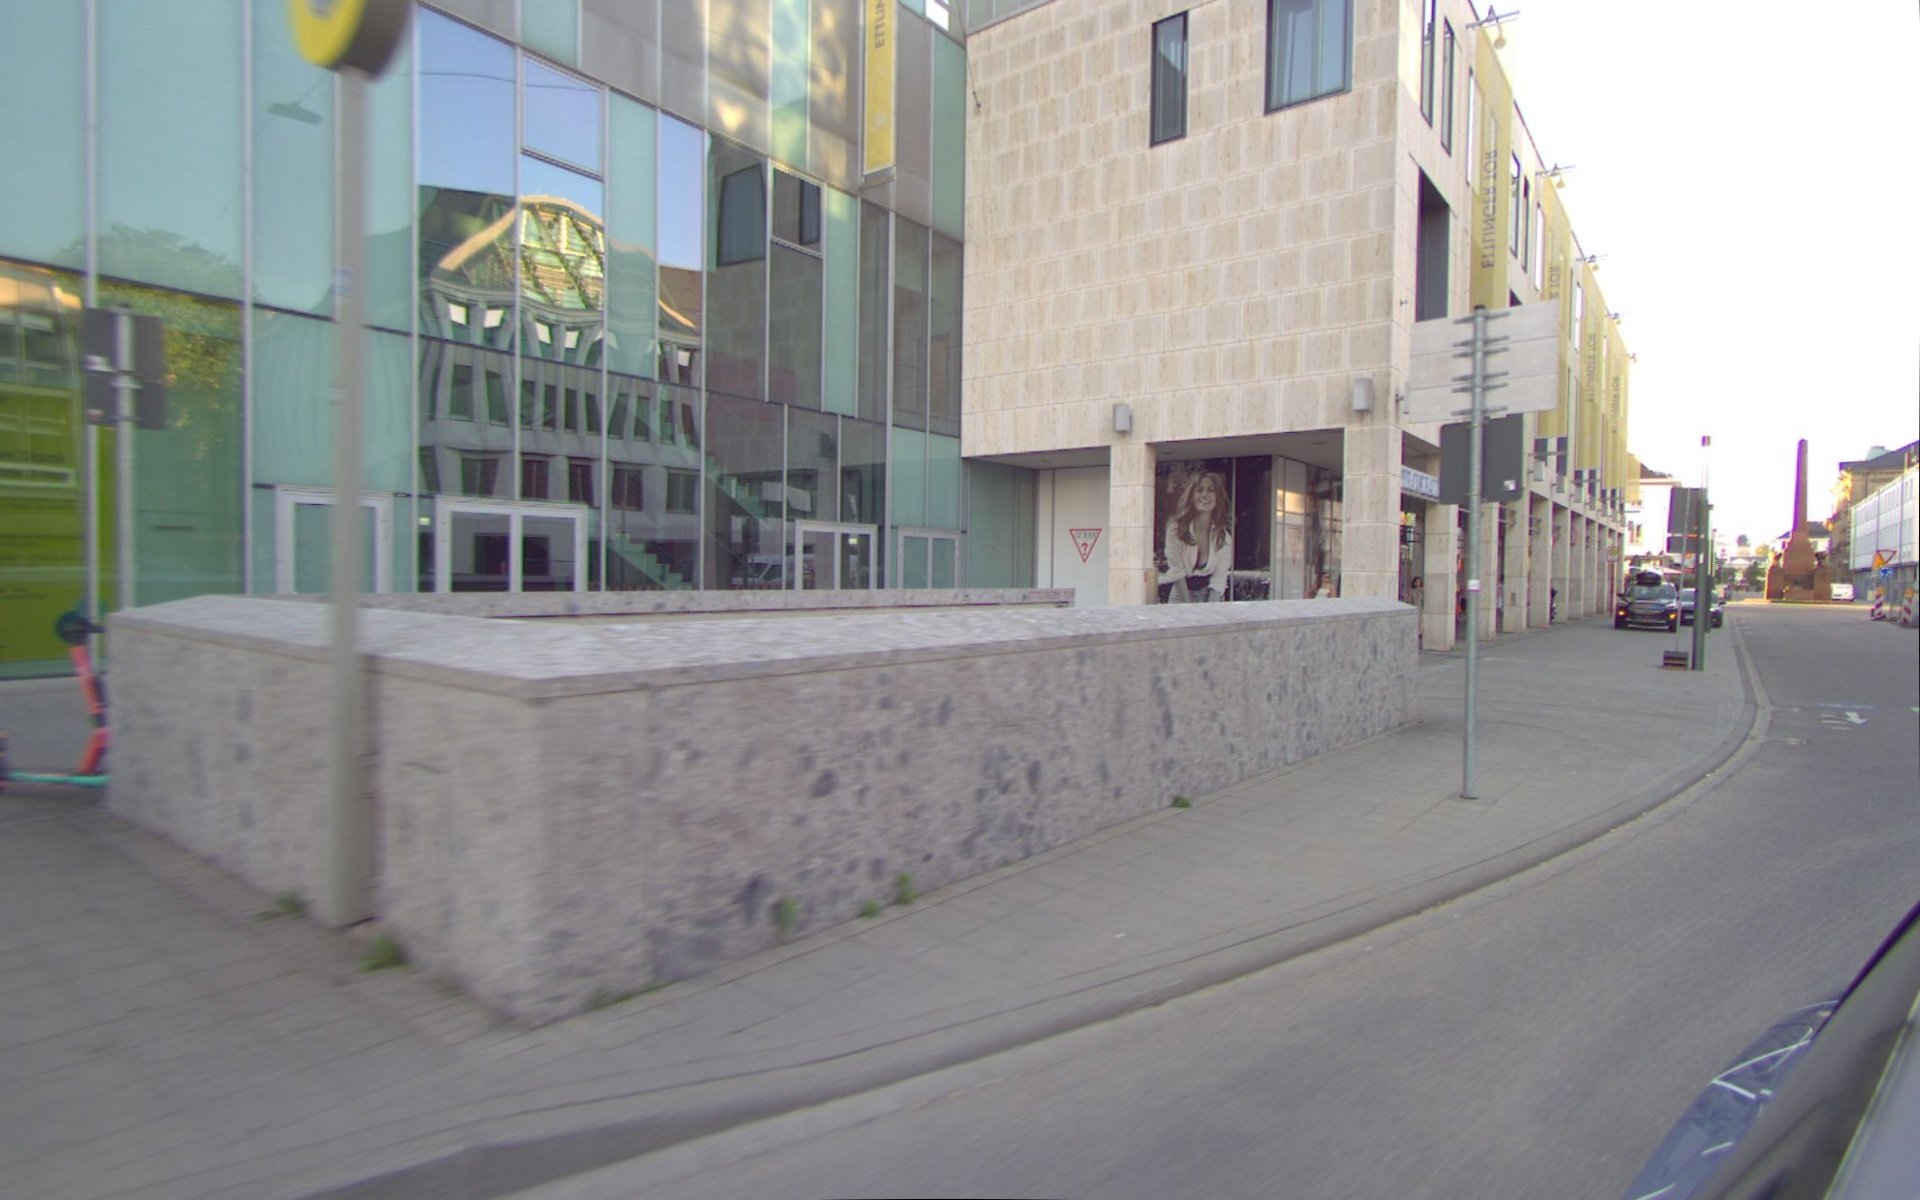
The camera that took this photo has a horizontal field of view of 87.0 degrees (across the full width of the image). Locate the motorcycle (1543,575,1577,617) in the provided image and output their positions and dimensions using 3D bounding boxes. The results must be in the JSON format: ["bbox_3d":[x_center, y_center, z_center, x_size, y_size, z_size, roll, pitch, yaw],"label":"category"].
[{"bbox_3d":[21.056,-0.157,35.515,0.692,1.434,2.105,2,2,39],"label":"motorcycle"}]

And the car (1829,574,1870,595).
[{"bbox_3d":[81.659,-1.470,92.992,2.006,1.848,4.412,1,2,31],"label":"car"}]

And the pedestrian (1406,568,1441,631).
[{"bbox_3d":[11.864,-0.013,25.908,0.632,1.587,0.765,2,0,37],"label":"pedestrian"}]

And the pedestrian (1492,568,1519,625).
[{"bbox_3d":[16.661,-0.115,30.903,0.589,1.719,0.687,2,2,36],"label":"pedestrian"}]

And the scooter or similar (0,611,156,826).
[{"bbox_3d":[-5.702,0.720,6.471,0.854,1.273,0.398,-1,1,-41],"label":"scooter or similar"}]

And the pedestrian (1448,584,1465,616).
[{"bbox_3d":[17.304,0.000,35.271,0.419,1.111,0.519,2,0,37],"label":"pedestrian"}]

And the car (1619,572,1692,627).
[{"bbox_3d":[24.208,-0.072,35.175,1.765,1.657,4.003,6,5,37],"label":"car"}]

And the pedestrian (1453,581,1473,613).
[{"bbox_3d":[17.768,-0.120,35.750,0.486,1.111,0.593,2,0,37],"label":"pedestrian"}]

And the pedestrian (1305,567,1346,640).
[{"bbox_3d":[7.966,0.058,22.053,0.632,1.561,0.765,1,2,37],"label":"pedestrian"}]

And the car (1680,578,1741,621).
[{"bbox_3d":[30.404,-0.079,40.964,1.792,1.508,4.136,6,5,37],"label":"car"}]

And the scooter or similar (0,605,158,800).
[{"bbox_3d":[-6.156,0.677,6.876,1.095,1.273,0.399,0,1,0],"label":"scooter or similar"}]
